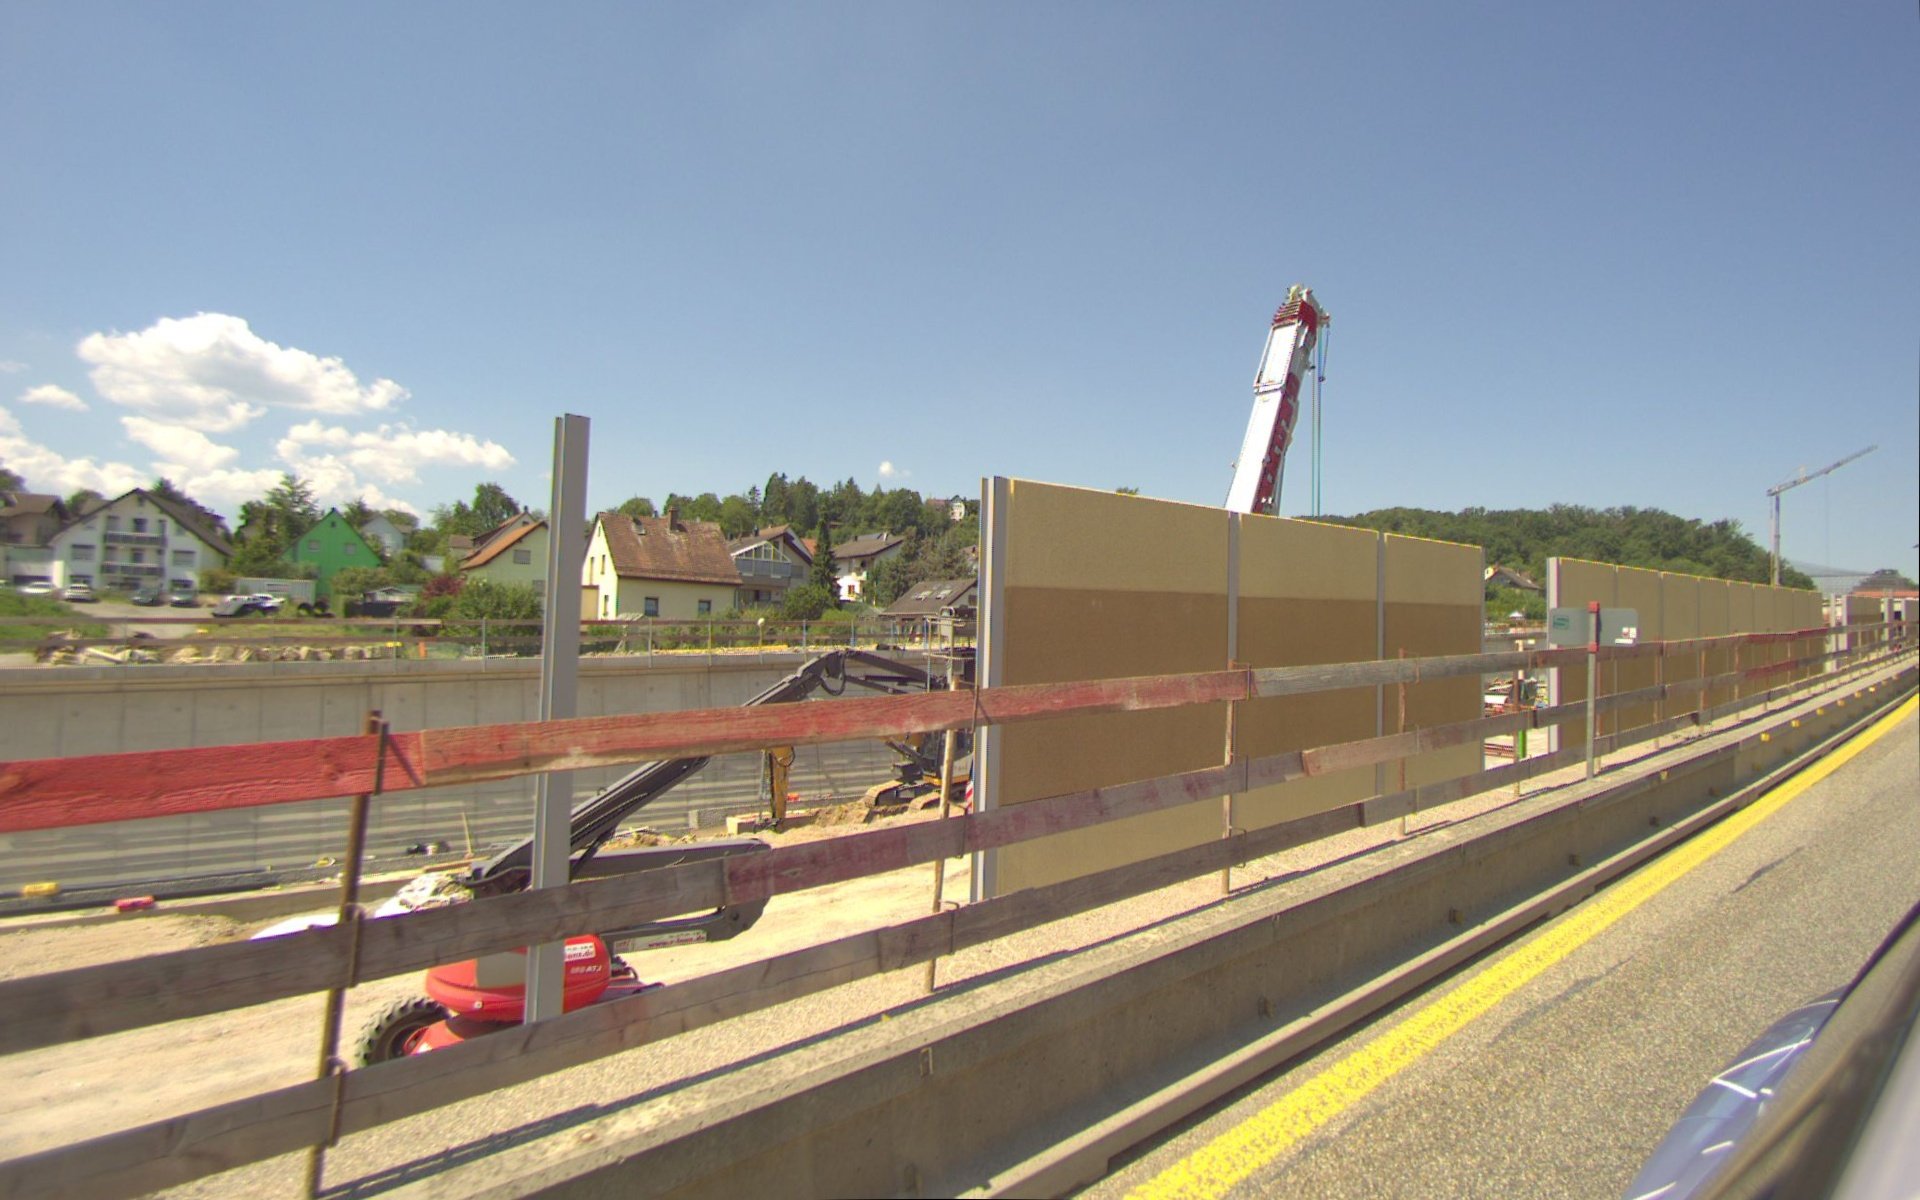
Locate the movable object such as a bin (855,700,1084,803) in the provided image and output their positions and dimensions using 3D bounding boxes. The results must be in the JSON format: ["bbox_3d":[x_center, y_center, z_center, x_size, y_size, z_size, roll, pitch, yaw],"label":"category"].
[{"bbox_3d":[0.486,4.981,34.610,7.759,2.477,3.166,0,-2,-42],"label":"movable object such as a bin"}]

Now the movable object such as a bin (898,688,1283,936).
[{"bbox_3d":[3.110,3.915,21.215,9.000,3.533,2.967,0,-2,-44],"label":"movable object such as a bin"}]

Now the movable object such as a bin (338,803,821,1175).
[{"bbox_3d":[-4.202,4.017,11.604,4.737,2.463,2.171,0,-2,-41],"label":"movable object such as a bin"}]
